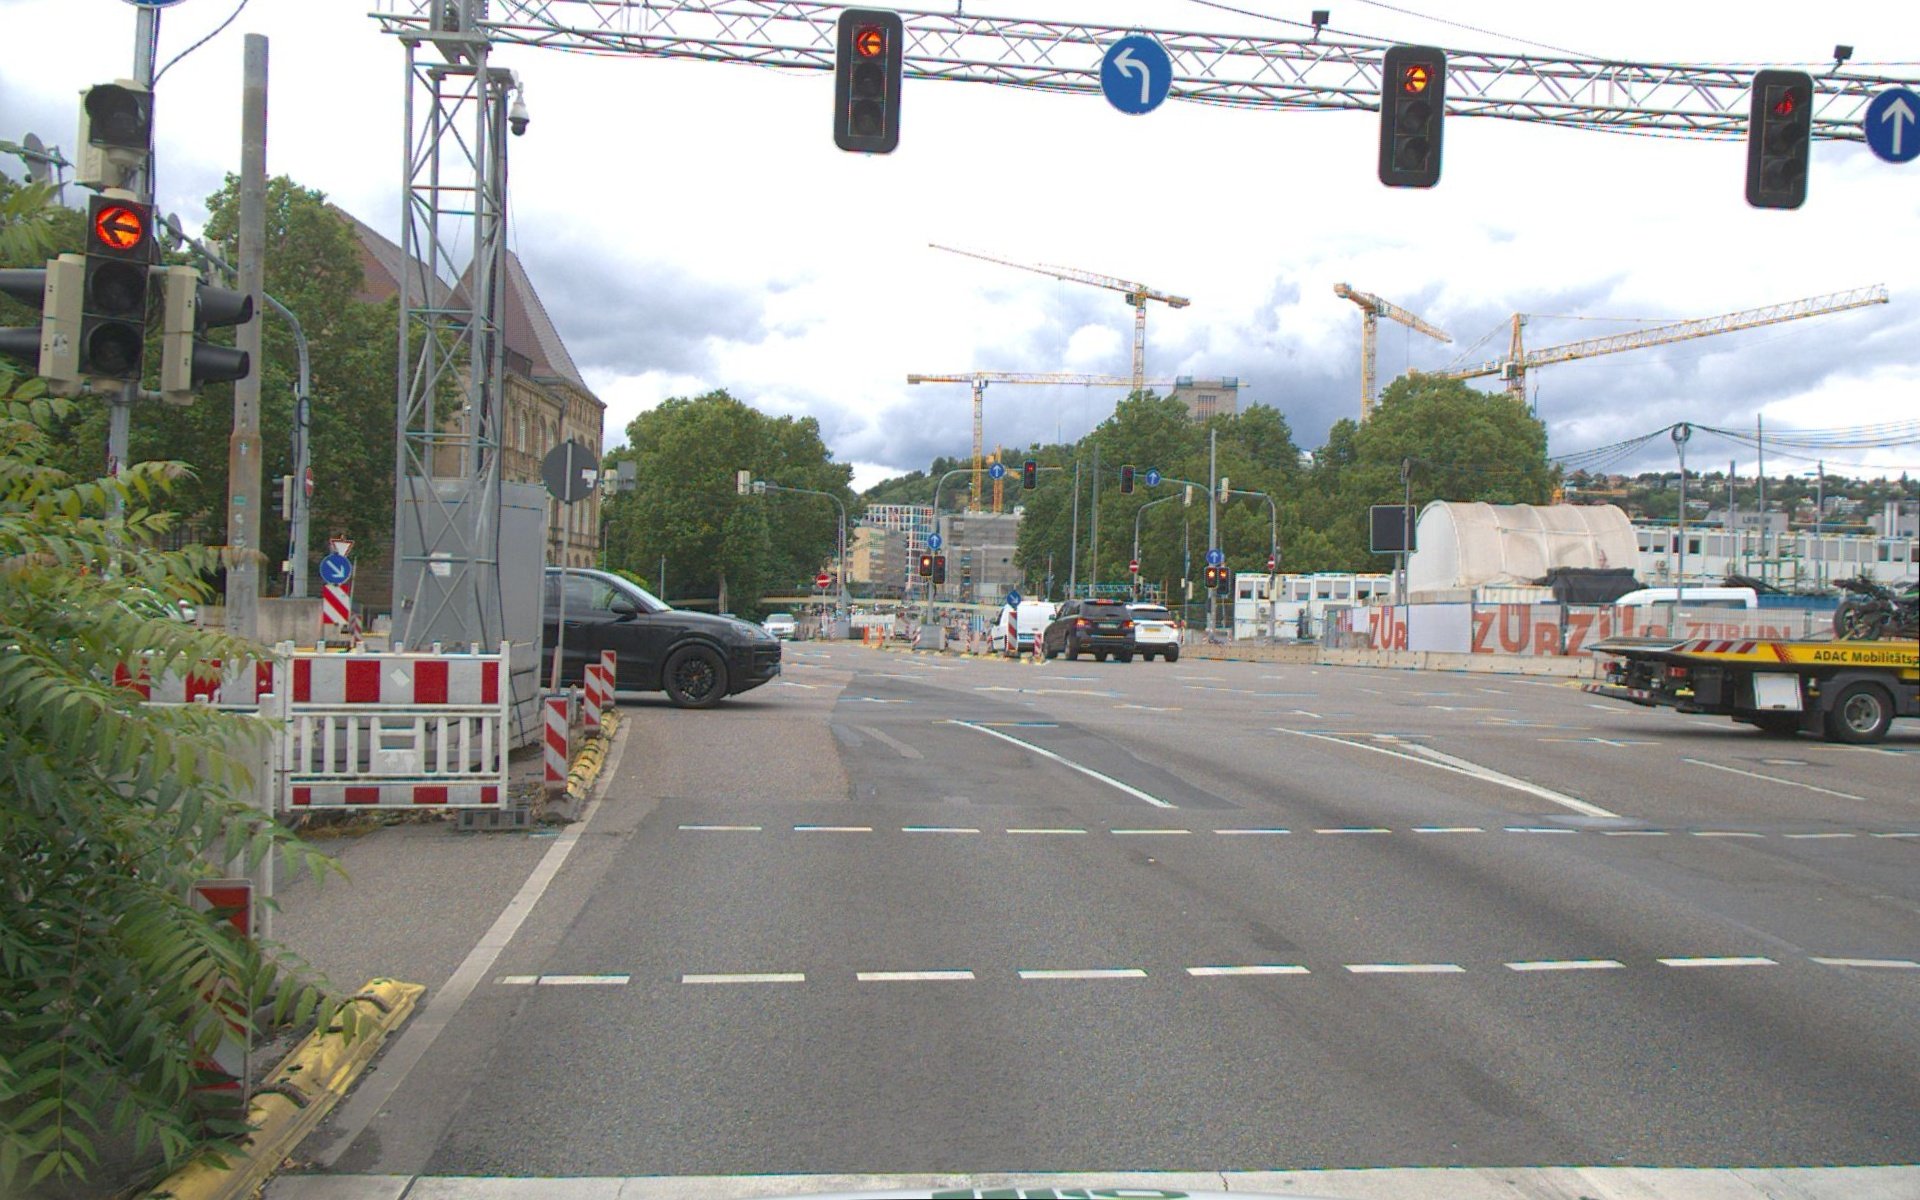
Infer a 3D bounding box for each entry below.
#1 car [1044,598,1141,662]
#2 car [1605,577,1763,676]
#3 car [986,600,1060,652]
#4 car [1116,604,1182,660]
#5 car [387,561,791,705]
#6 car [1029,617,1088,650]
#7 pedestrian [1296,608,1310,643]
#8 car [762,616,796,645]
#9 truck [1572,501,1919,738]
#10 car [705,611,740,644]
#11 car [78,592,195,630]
[{"bbox_3d":[3.826,0.844,48.340,1.799,1.776,4.245,1,0,-10],"label":"car"},{"bbox_3d":[20.821,0.748,47.683,3.902,2.708,1.683,1,-1,13],"label":"car"},{"bbox_3d":[2.078,0.856,55.551,1.783,1.653,3.993,1,0,-8],"label":"car"},{"bbox_3d":[6.039,1.002,53.129,1.642,1.732,3.374,1,0,-1],"label":"car"},{"bbox_3d":[-4.530,0.410,20.819,4.717,1.653,2.017,1,0,-8],"label":"car"},{"bbox_3d":[4.509,1.520,76.039,1.650,1.422,3.070,1,0,-19],"label":"car"},{"bbox_3d":[17.455,1.304,84.193,0.519,1.778,0.465,1,0,-25],"label":"pedestrian"},{"bbox_3d":[-9.294,1.538,84.858,1.644,1.422,3.677,1,0,-7],"label":"car"},{"bbox_3d":[13.007,0.306,21.937,8.801,2.852,2.625,1,0,-2],"label":"truck"},{"bbox_3d":[-12.126,1.395,84.518,1.644,1.608,3.677,1,0,-7],"label":"car"},{"bbox_3d":[-29.661,0.403,59.661,3.551,1.276,1.672,1,0,-19],"label":"car"}]
